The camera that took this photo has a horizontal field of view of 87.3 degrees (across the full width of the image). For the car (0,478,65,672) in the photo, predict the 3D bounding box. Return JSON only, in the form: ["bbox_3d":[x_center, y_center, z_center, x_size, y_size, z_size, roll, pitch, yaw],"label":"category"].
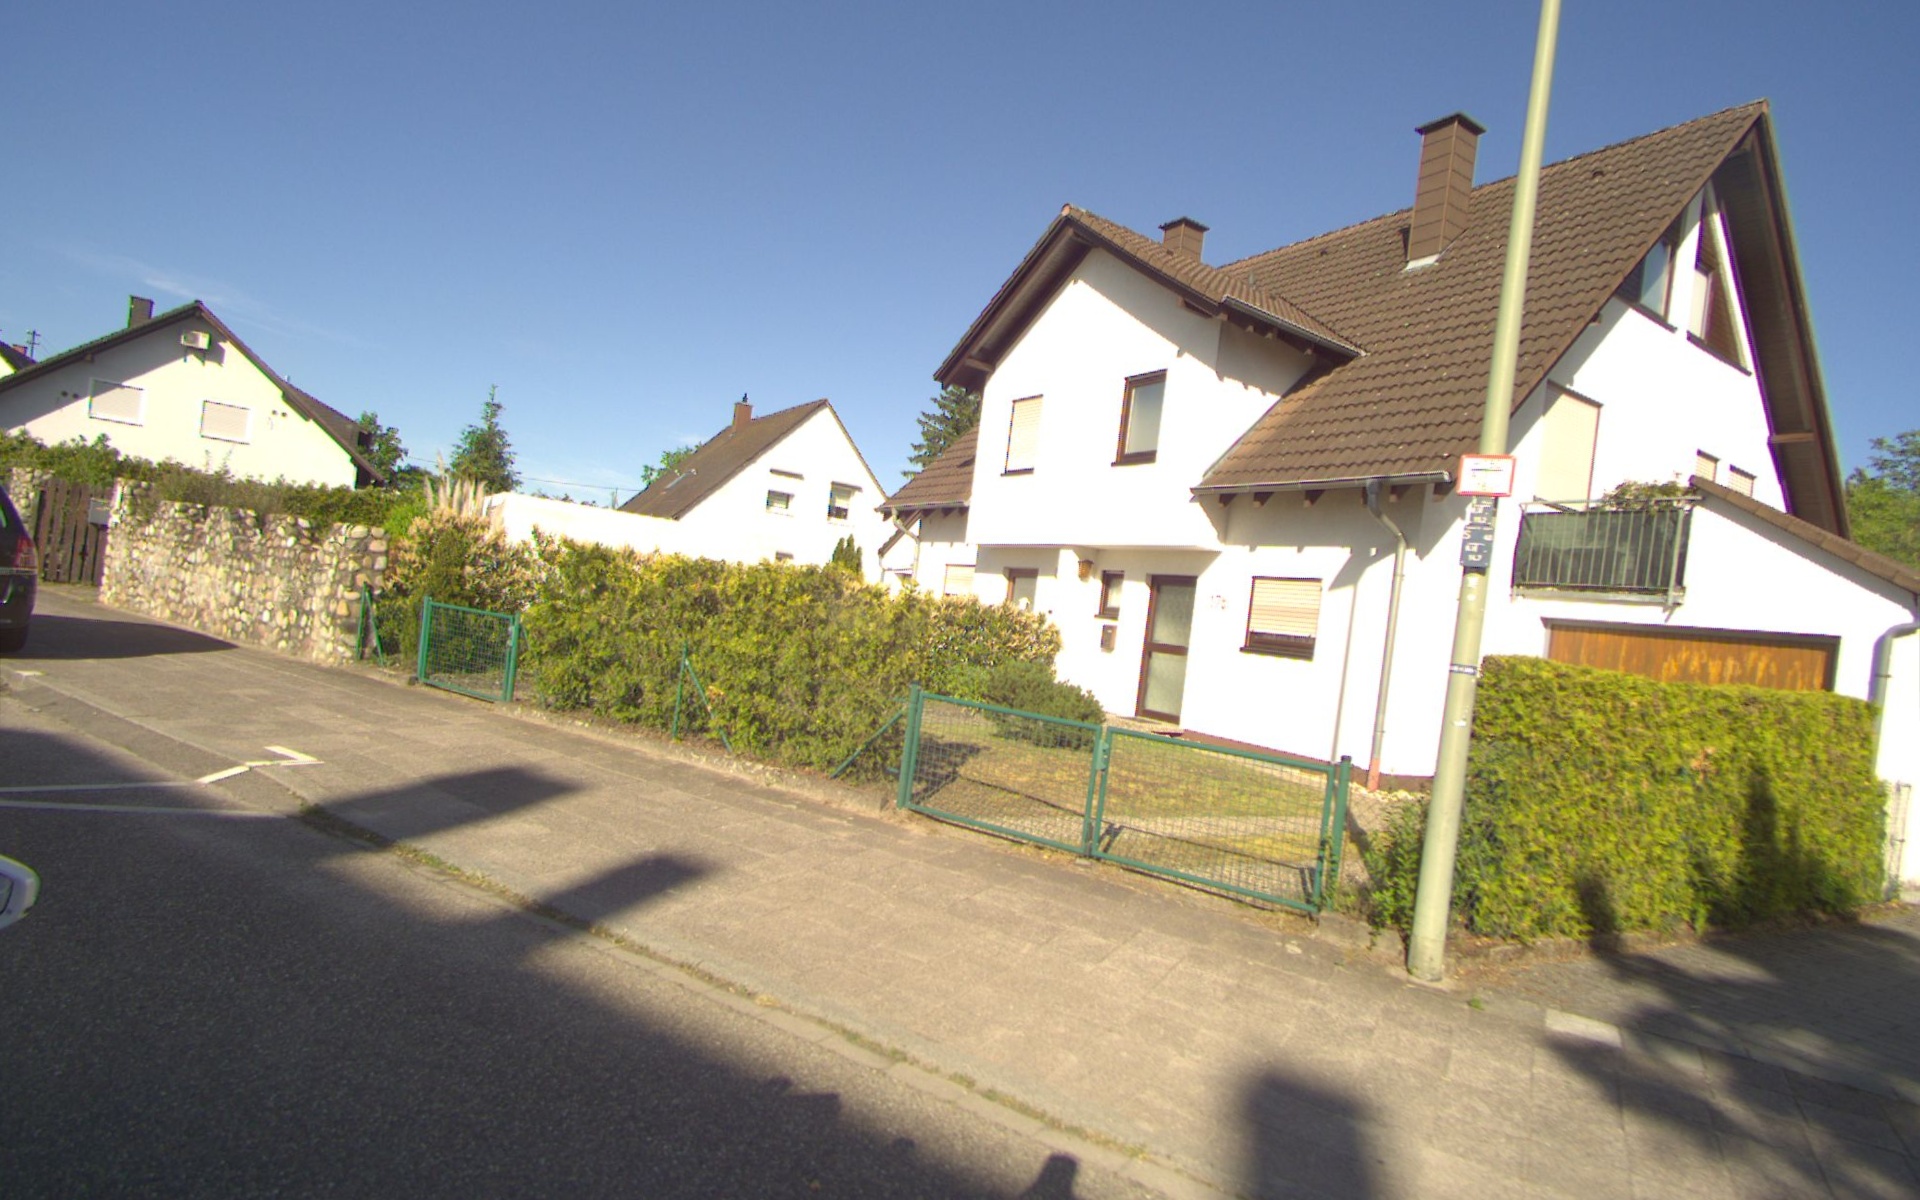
[{"bbox_3d":[-10.410,-0.480,9.482,4.233,1.678,1.779,7,-1,33],"label":"car"}]
